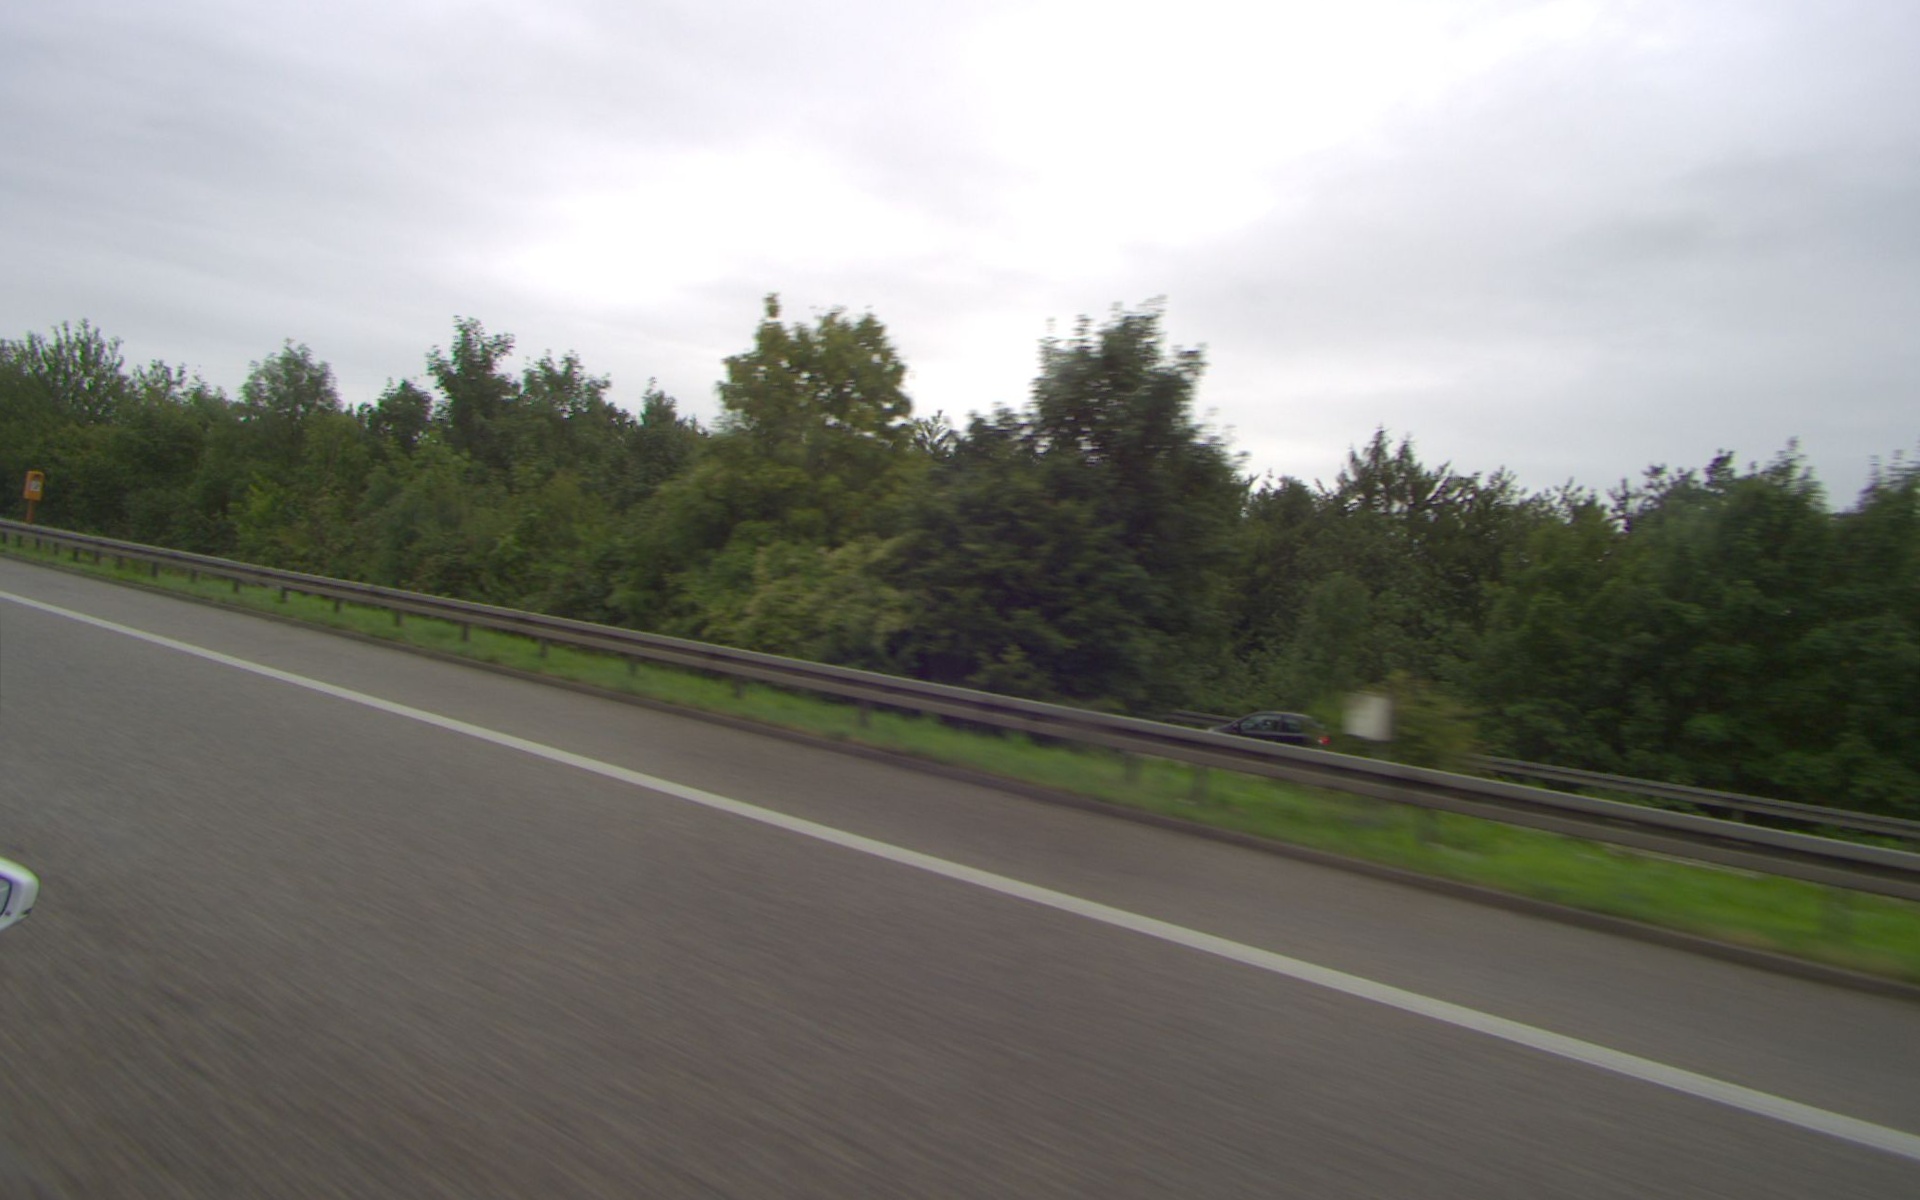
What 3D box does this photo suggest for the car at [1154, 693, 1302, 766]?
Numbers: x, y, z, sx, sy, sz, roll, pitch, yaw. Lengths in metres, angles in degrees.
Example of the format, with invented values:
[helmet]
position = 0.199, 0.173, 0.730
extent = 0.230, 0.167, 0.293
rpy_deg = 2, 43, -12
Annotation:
[car]
position = 6.616, 3.186, 24.979
extent = 1.565, 1.281, 3.110
rpy_deg = 8, -1, -45
